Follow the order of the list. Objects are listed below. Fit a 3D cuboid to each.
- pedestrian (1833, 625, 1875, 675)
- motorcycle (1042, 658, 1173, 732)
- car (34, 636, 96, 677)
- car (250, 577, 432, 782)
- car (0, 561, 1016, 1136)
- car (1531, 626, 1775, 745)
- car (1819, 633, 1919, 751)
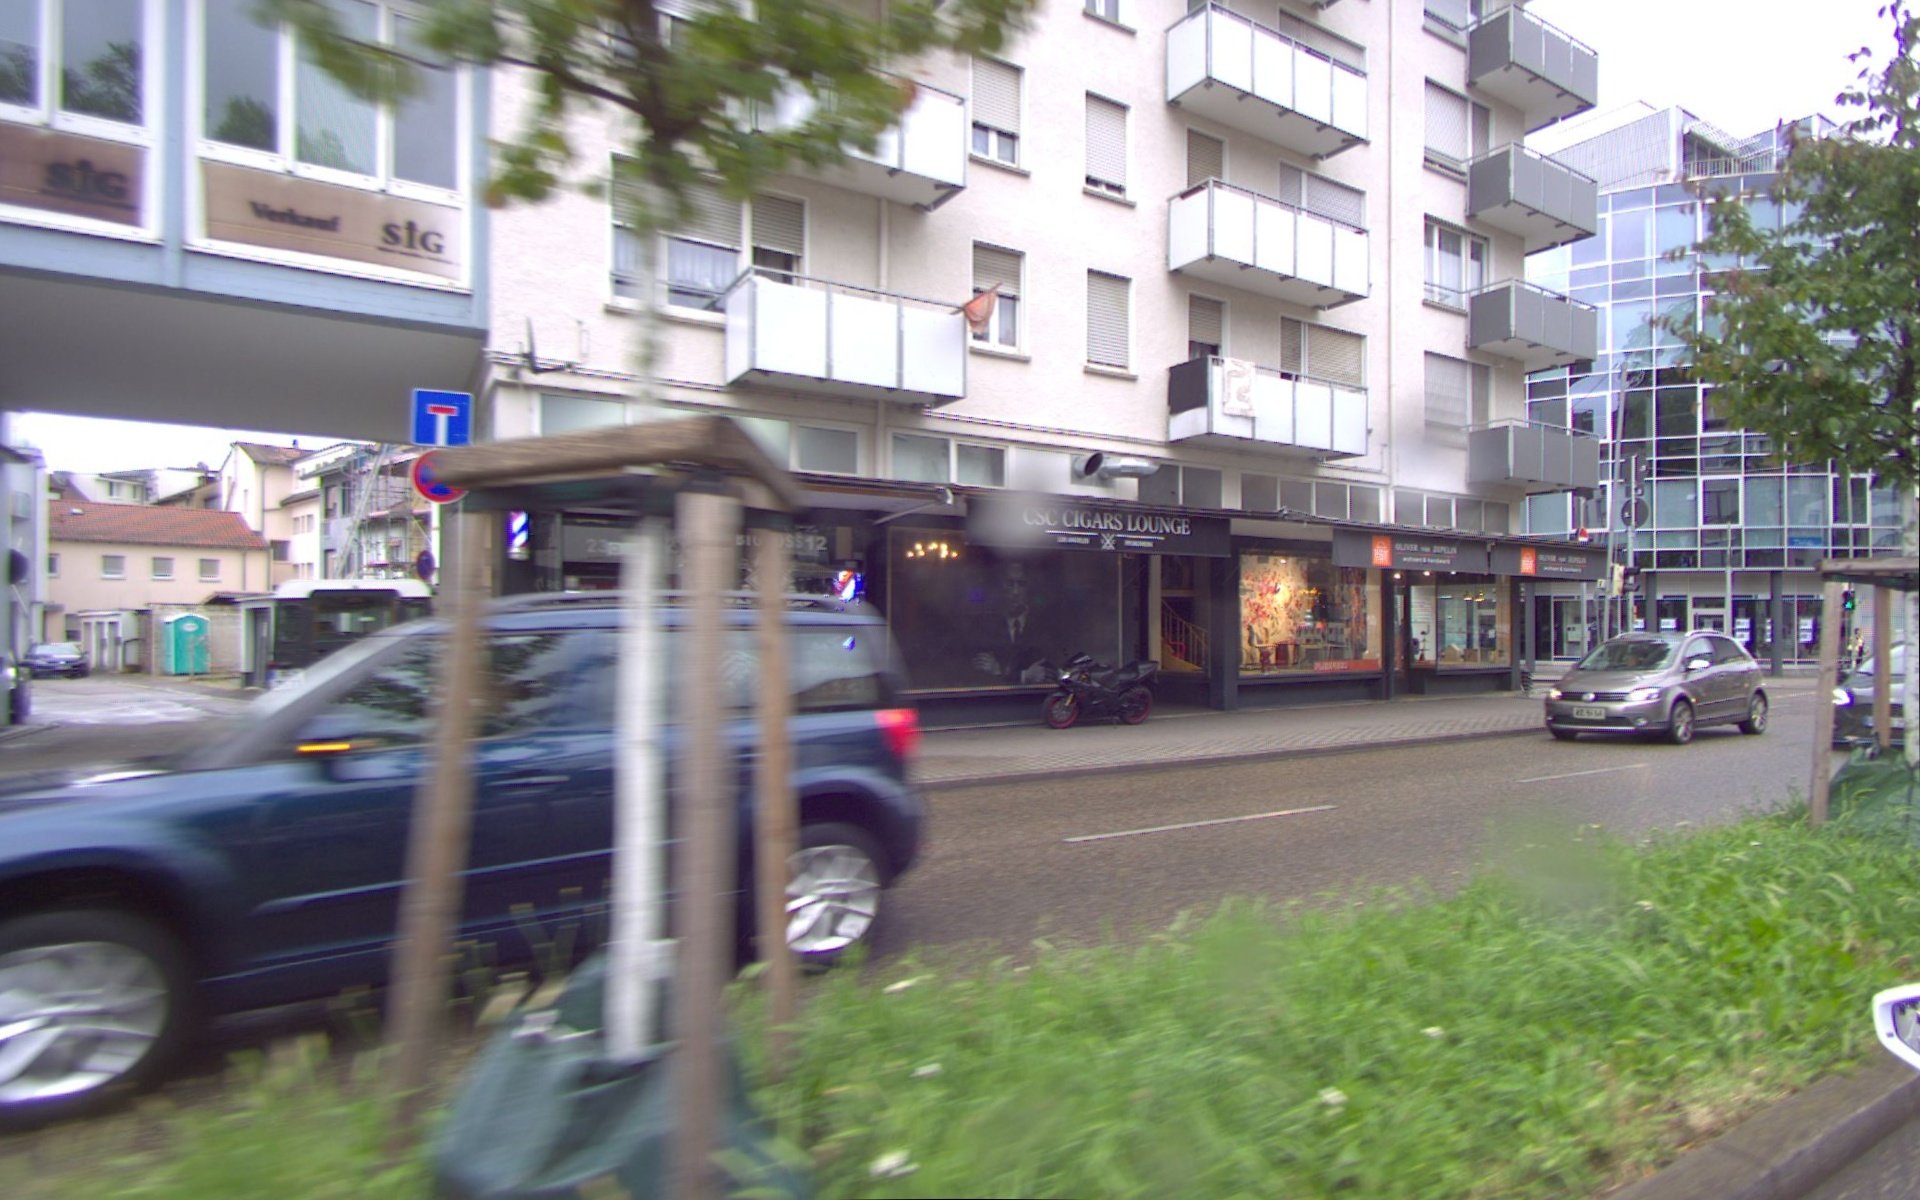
[{"bbox_3d":[29.649,1.660,33.317,0.768,1.611,0.763,-2,-2,22],"label":"pedestrian"},{"bbox_3d":[2.265,1.426,15.299,2.111,1.008,0.523,1,0,-30],"label":"motorcycle"},{"bbox_3d":[-37.301,2.332,41.830,3.945,1.427,1.664,1,1,45],"label":"car"},{"bbox_3d":[-7.352,0.860,12.254,1.560,2.061,3.949,1,-2,-27],"label":"car"},{"bbox_3d":[-1.894,0.798,4.519,4.049,1.682,1.675,1,-4,-31],"label":"car"},{"bbox_3d":[10.697,1.250,15.460,3.893,1.612,1.624,1,-4,-32],"label":"car"},{"bbox_3d":[13.254,1.167,13.424,3.892,1.431,1.525,1,-4,-32],"label":"car"}]
